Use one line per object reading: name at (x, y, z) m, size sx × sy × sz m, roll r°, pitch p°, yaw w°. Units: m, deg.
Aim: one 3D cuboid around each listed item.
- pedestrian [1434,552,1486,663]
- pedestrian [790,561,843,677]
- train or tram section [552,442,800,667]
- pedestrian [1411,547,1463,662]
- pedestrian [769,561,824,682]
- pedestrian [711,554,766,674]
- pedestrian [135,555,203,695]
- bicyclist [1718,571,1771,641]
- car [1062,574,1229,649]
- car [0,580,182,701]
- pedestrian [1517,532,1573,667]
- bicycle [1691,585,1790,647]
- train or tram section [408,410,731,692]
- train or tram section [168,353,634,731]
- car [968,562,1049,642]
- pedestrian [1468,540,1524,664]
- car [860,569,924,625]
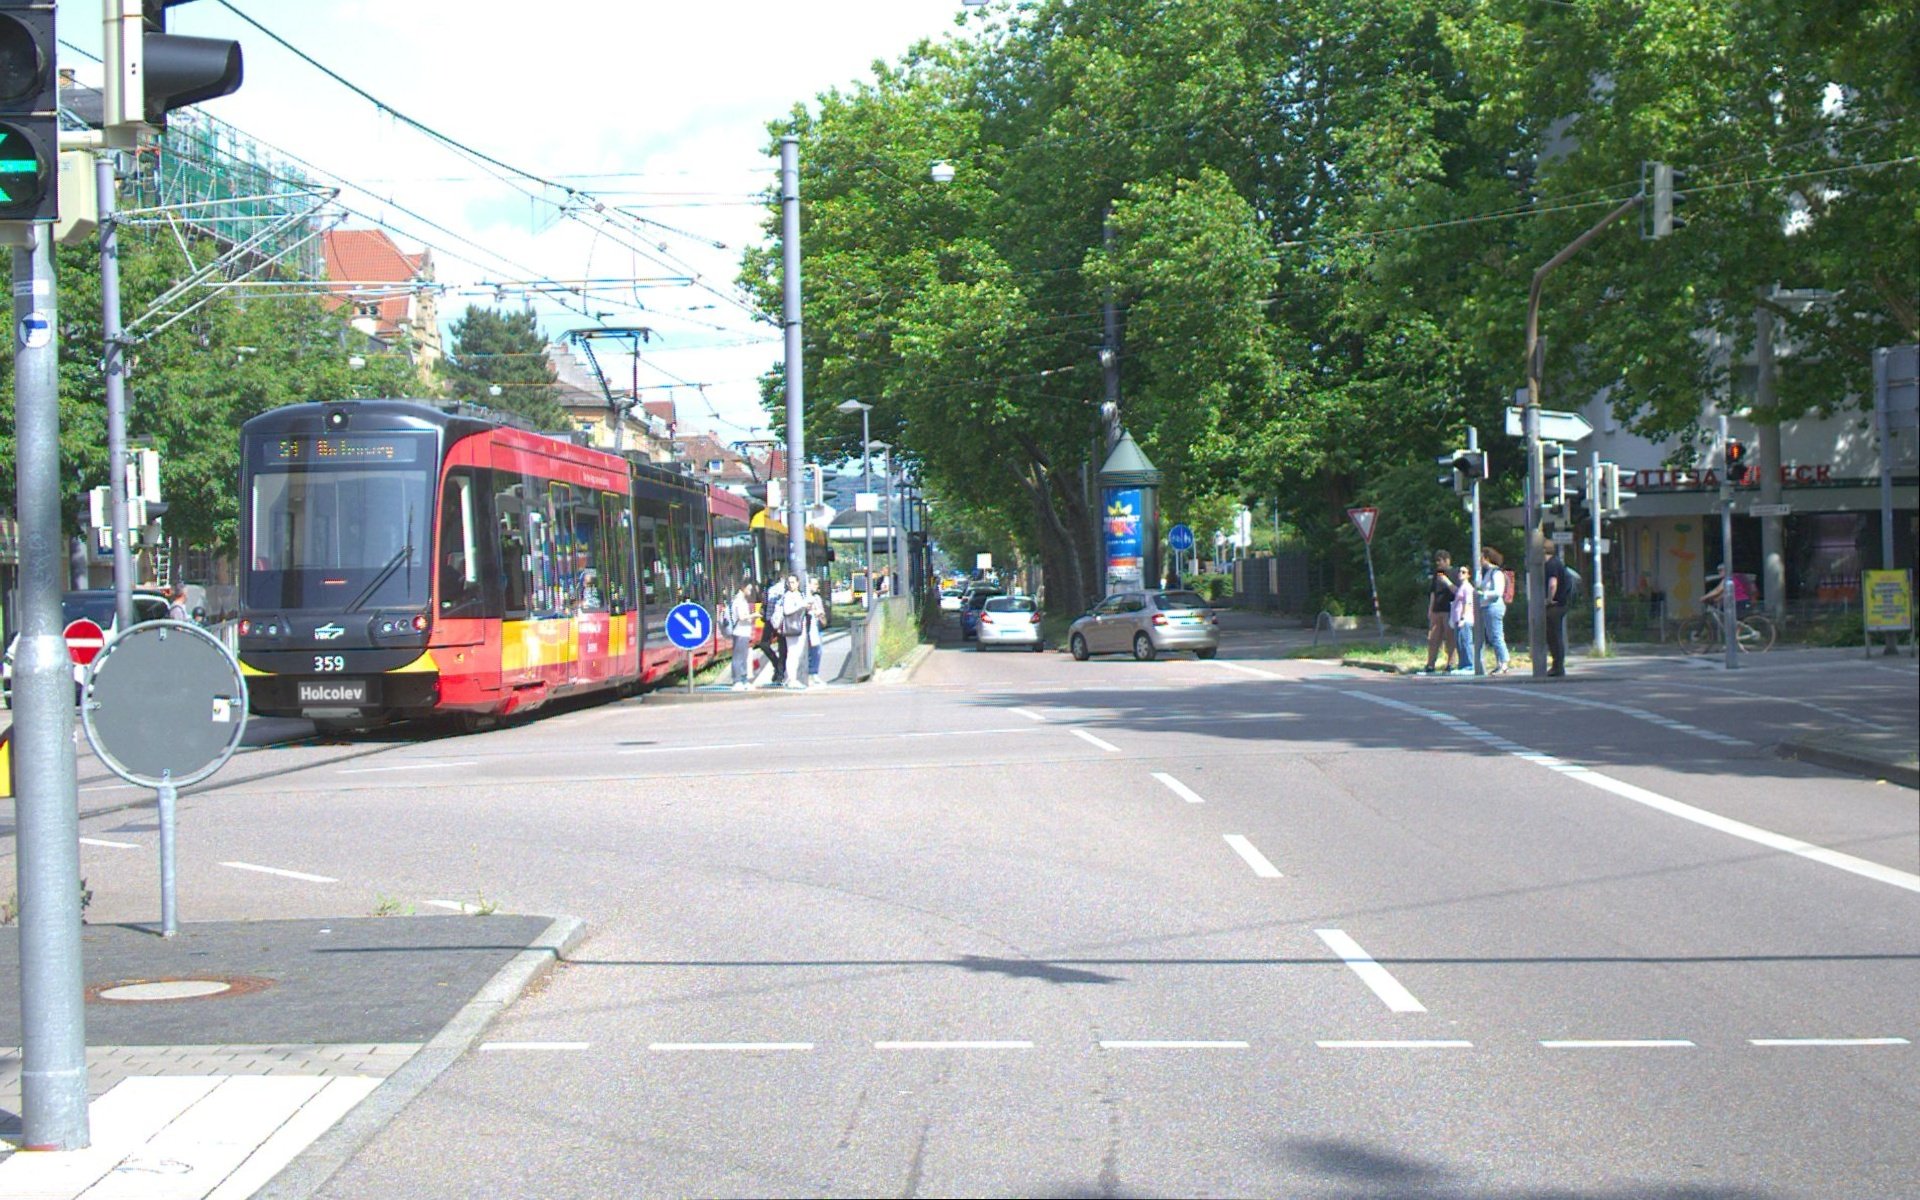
pedestrian at (7.263, 0.110, 49.960) m, size 0.510 × 1.592 × 0.556 m, roll -2°, pitch 0°, yaw -21°
pedestrian at (-2.132, 0.273, 51.126) m, size 0.669 × 1.697 × 0.648 m, roll -2°, pitch 0°, yaw 3°
train or tram section at (-4.868, -0.806, 61.603) m, size 2.806 × 3.549 × 12.156 m, roll -2°, pitch 1°, yaw 3°
pedestrian at (7.009, 0.065, 50.498) m, size 0.510 × 1.665 × 0.556 m, roll -2°, pitch 0°, yaw -21°
pedestrian at (-2.332, 0.301, 49.036) m, size 0.669 × 1.697 × 0.648 m, roll -2°, pitch 0°, yaw 3°
pedestrian at (-3.165, 0.197, 49.119) m, size 0.669 × 1.697 × 0.648 m, roll -2°, pitch 0°, yaw 3°
pedestrian at (-11.520, 0.363, 50.083) m, size 0.738 × 2.007 × 0.704 m, roll -1°, pitch 0°, yaw 6°
bicyclist at (14.152, 0.103, 62.040) m, size 0.812 × 1.247 × 0.481 m, roll 1°, pitch 0°, yaw 28°
car at (3.766, 0.243, 70.273) m, size 1.748 × 1.448 × 3.606 m, roll -2°, pitch 1°, yaw -28°
car at (-14.740, 0.642, 57.923) m, size 1.993 × 1.885 × 5.172 m, roll -1°, pitch 0°, yaw 1°
pedestrian at (7.935, -0.009, 46.633) m, size 0.481 × 1.819 × 0.555 m, roll -1°, pitch 0°, yaw 43°
bicycle at (14.092, 0.283, 62.082) m, size 1.679 × 1.085 × 0.481 m, roll 1°, pitch 0°, yaw 28°
train or tram section at (-5.412, -0.692, 49.975) m, size 2.806 × 3.549 × 11.181 m, roll -2°, pitch 1°, yaw 3°
train or tram section at (-5.918, -0.618, 38.744) m, size 2.796 × 3.549 × 11.376 m, roll -2°, pitch 1°, yaw 3°
car at (1.228, 0.033, 89.432) m, size 1.993 × 2.007 × 4.000 m, roll 0°, pitch 0°, yaw -1°
pedestrian at (7.568, 0.024, 48.527) m, size 0.527 × 1.729 × 0.556 m, roll -2°, pitch 0°, yaw -21°
car at (-2.244, -0.119, 114.689) m, size 1.815 × 1.798 × 4.000 m, roll -2°, pitch 0°, yaw 3°
